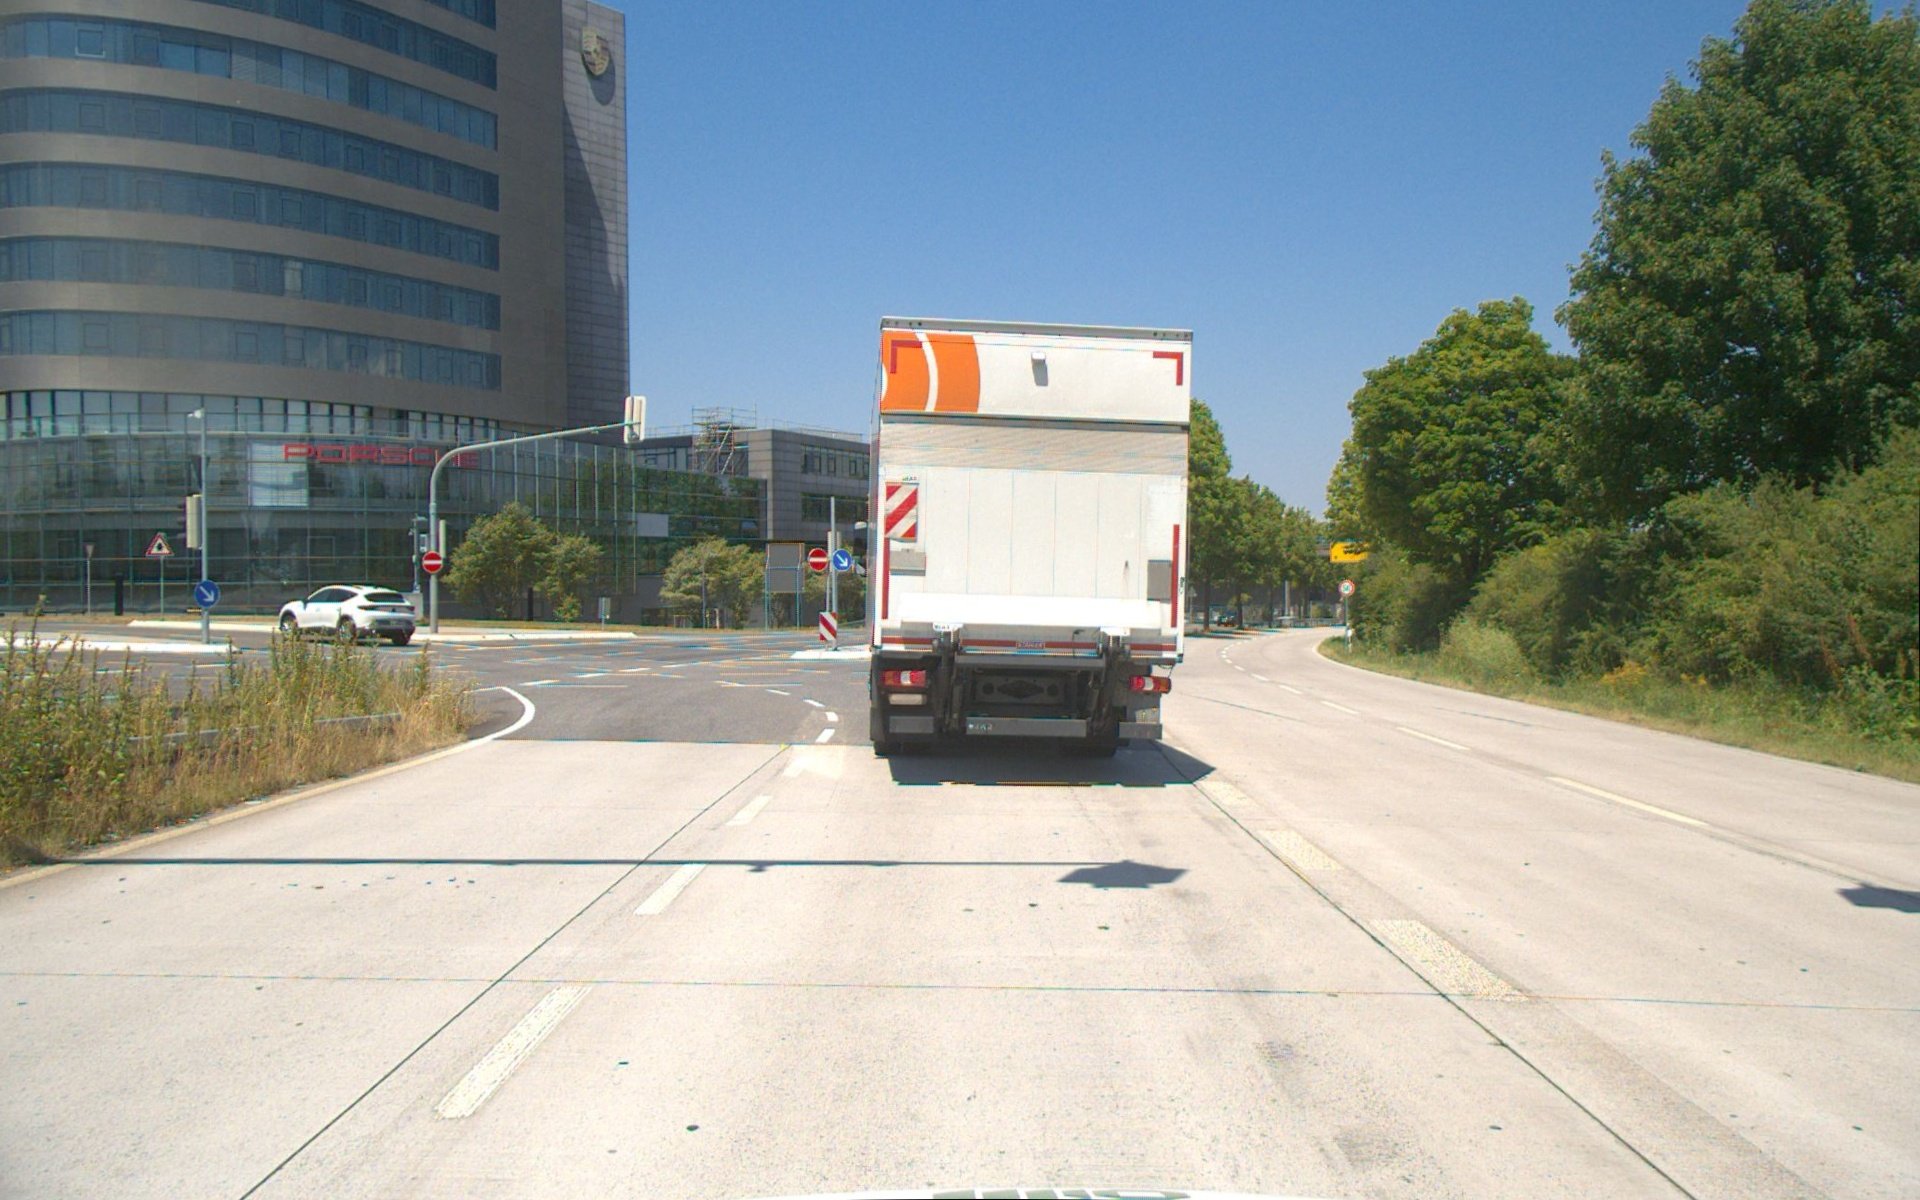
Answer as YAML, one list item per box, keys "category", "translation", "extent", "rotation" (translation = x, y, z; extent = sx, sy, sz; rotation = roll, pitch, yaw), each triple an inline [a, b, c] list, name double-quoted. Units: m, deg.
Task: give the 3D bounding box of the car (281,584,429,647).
- category: "car"
  translation: [-15.930, 0.393, 43.521]
  extent: [3.921, 1.584, 1.801]
  rotation: [1, -1, 37]

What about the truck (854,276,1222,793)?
- category: "truck"
  translation: [0.322, -0.468, 17.505]
  extent: [2.715, 3.927, 9.362]
  rotation: [2, -1, -4]
